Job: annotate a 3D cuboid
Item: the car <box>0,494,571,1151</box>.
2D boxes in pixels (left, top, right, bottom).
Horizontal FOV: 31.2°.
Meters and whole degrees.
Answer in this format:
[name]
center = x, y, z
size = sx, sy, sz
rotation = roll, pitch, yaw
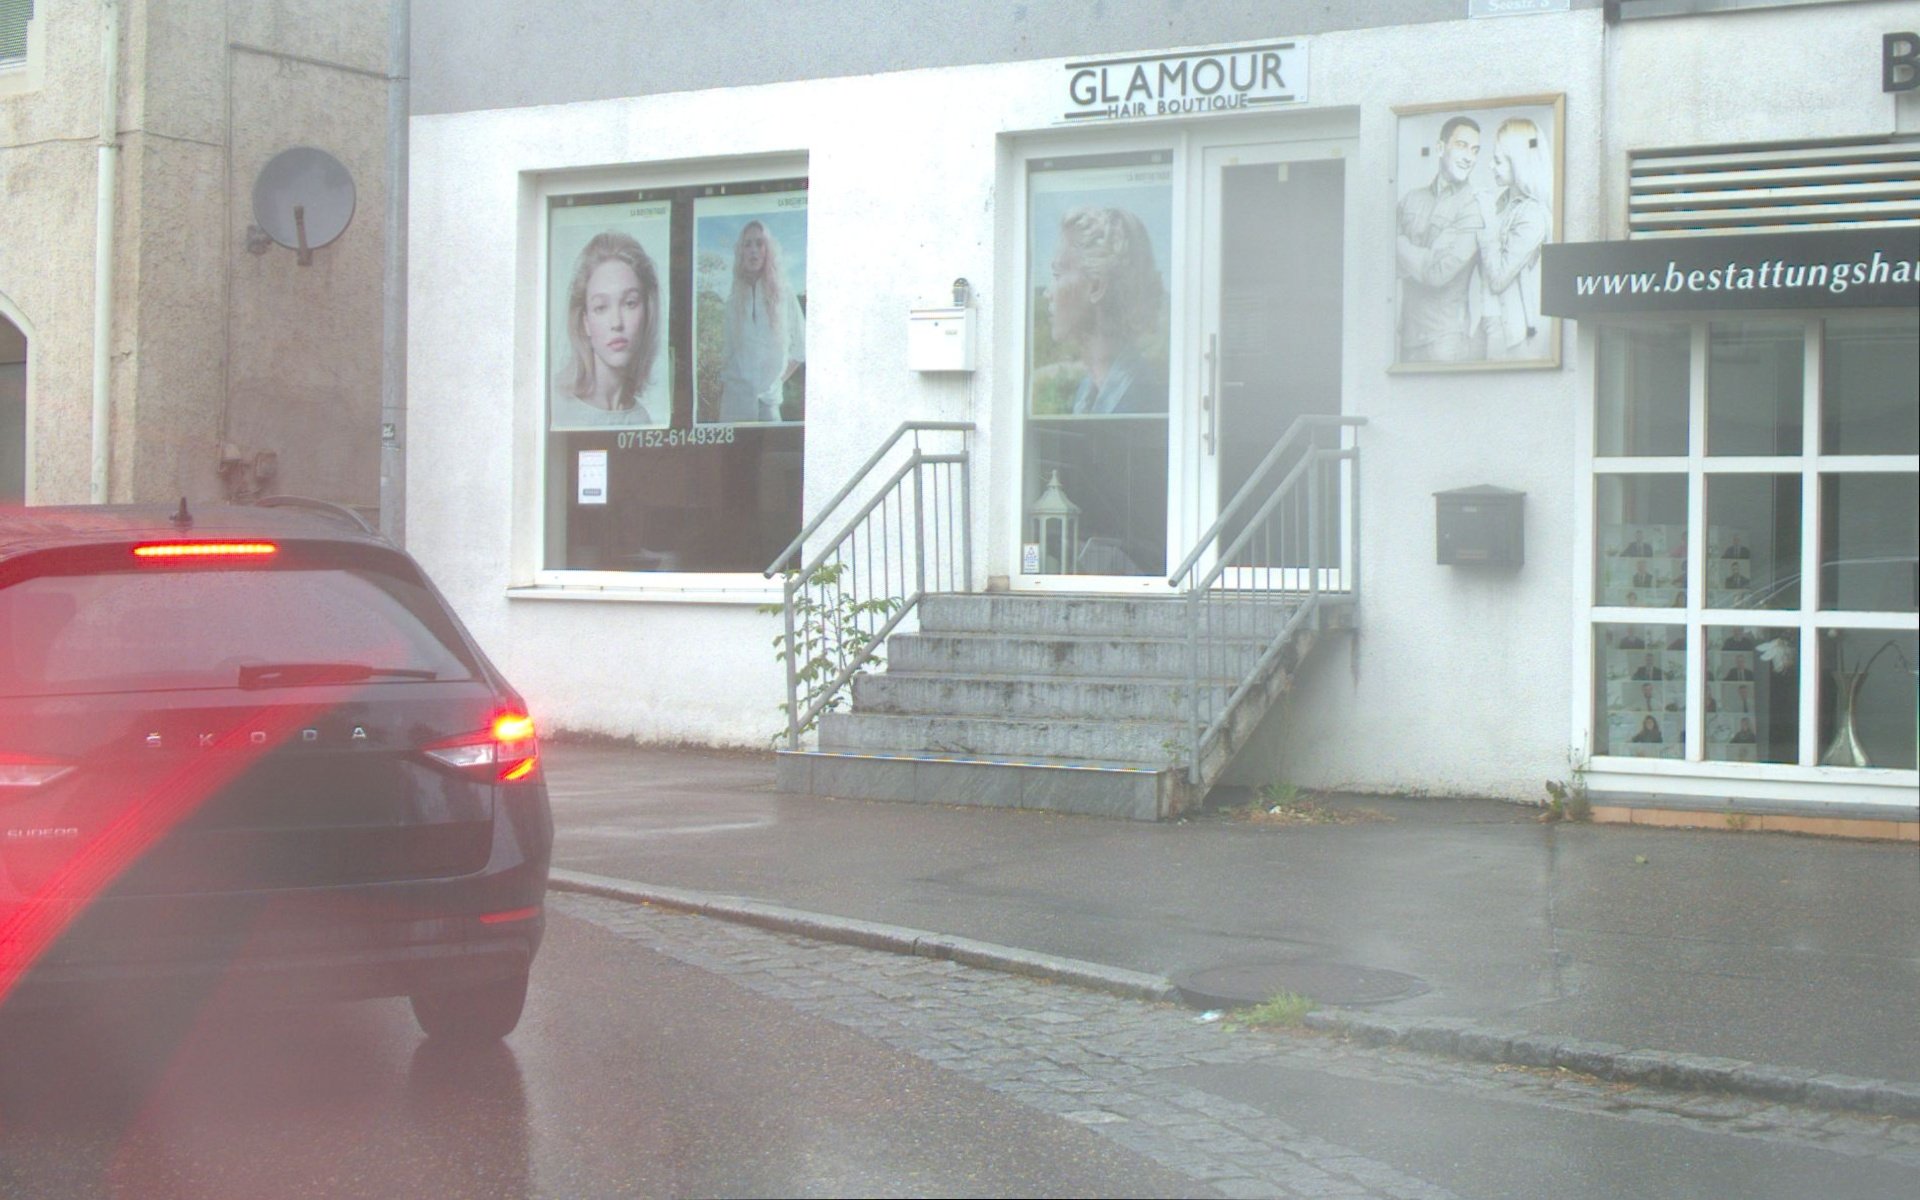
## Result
[car]
center = -2.573, 0.446, 10.026
size = 1.732, 1.445, 4.243
rotation = -1, 3, -23
